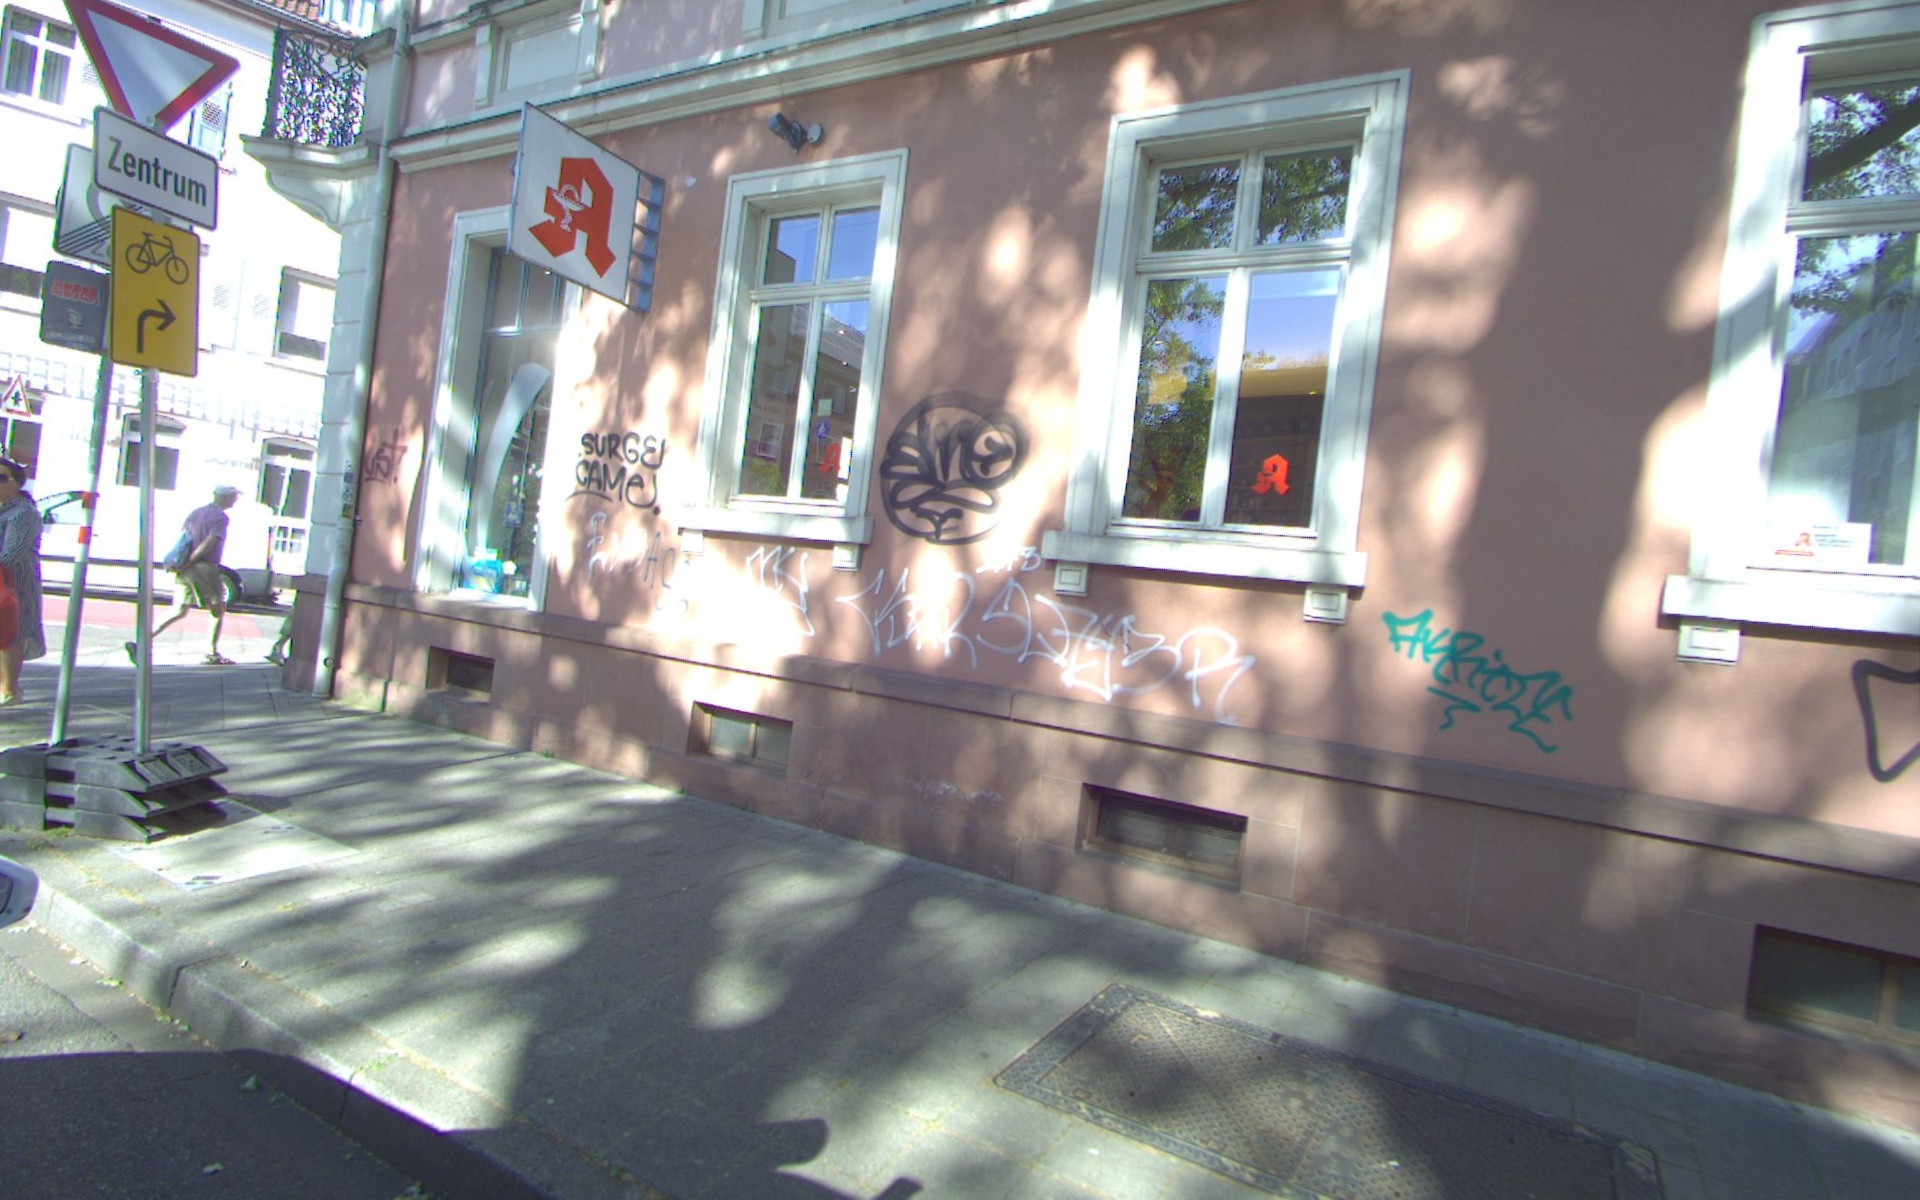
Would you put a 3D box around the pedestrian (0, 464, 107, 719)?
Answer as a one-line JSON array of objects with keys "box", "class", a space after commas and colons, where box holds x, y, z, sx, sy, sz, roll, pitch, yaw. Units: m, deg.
[{"box": [-6.282, -0.082, 6.589, 0.832, 1.596, 0.843, 6, 4, 31], "class": "pedestrian"}]

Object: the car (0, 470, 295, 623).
[{"box": [-14.378, -0.918, 17.024, 4.983, 1.969, 2.031, 8, -1, -37], "class": "car"}]

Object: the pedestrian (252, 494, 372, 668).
[{"box": [-6.622, -0.186, 10.296, 0.616, 1.689, 0.835, 2, 2, 31], "class": "pedestrian"}]

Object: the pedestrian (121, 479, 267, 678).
[{"box": [-7.269, -0.191, 9.554, 0.817, 1.786, 0.750, 4, -1, 31], "class": "pedestrian"}]
